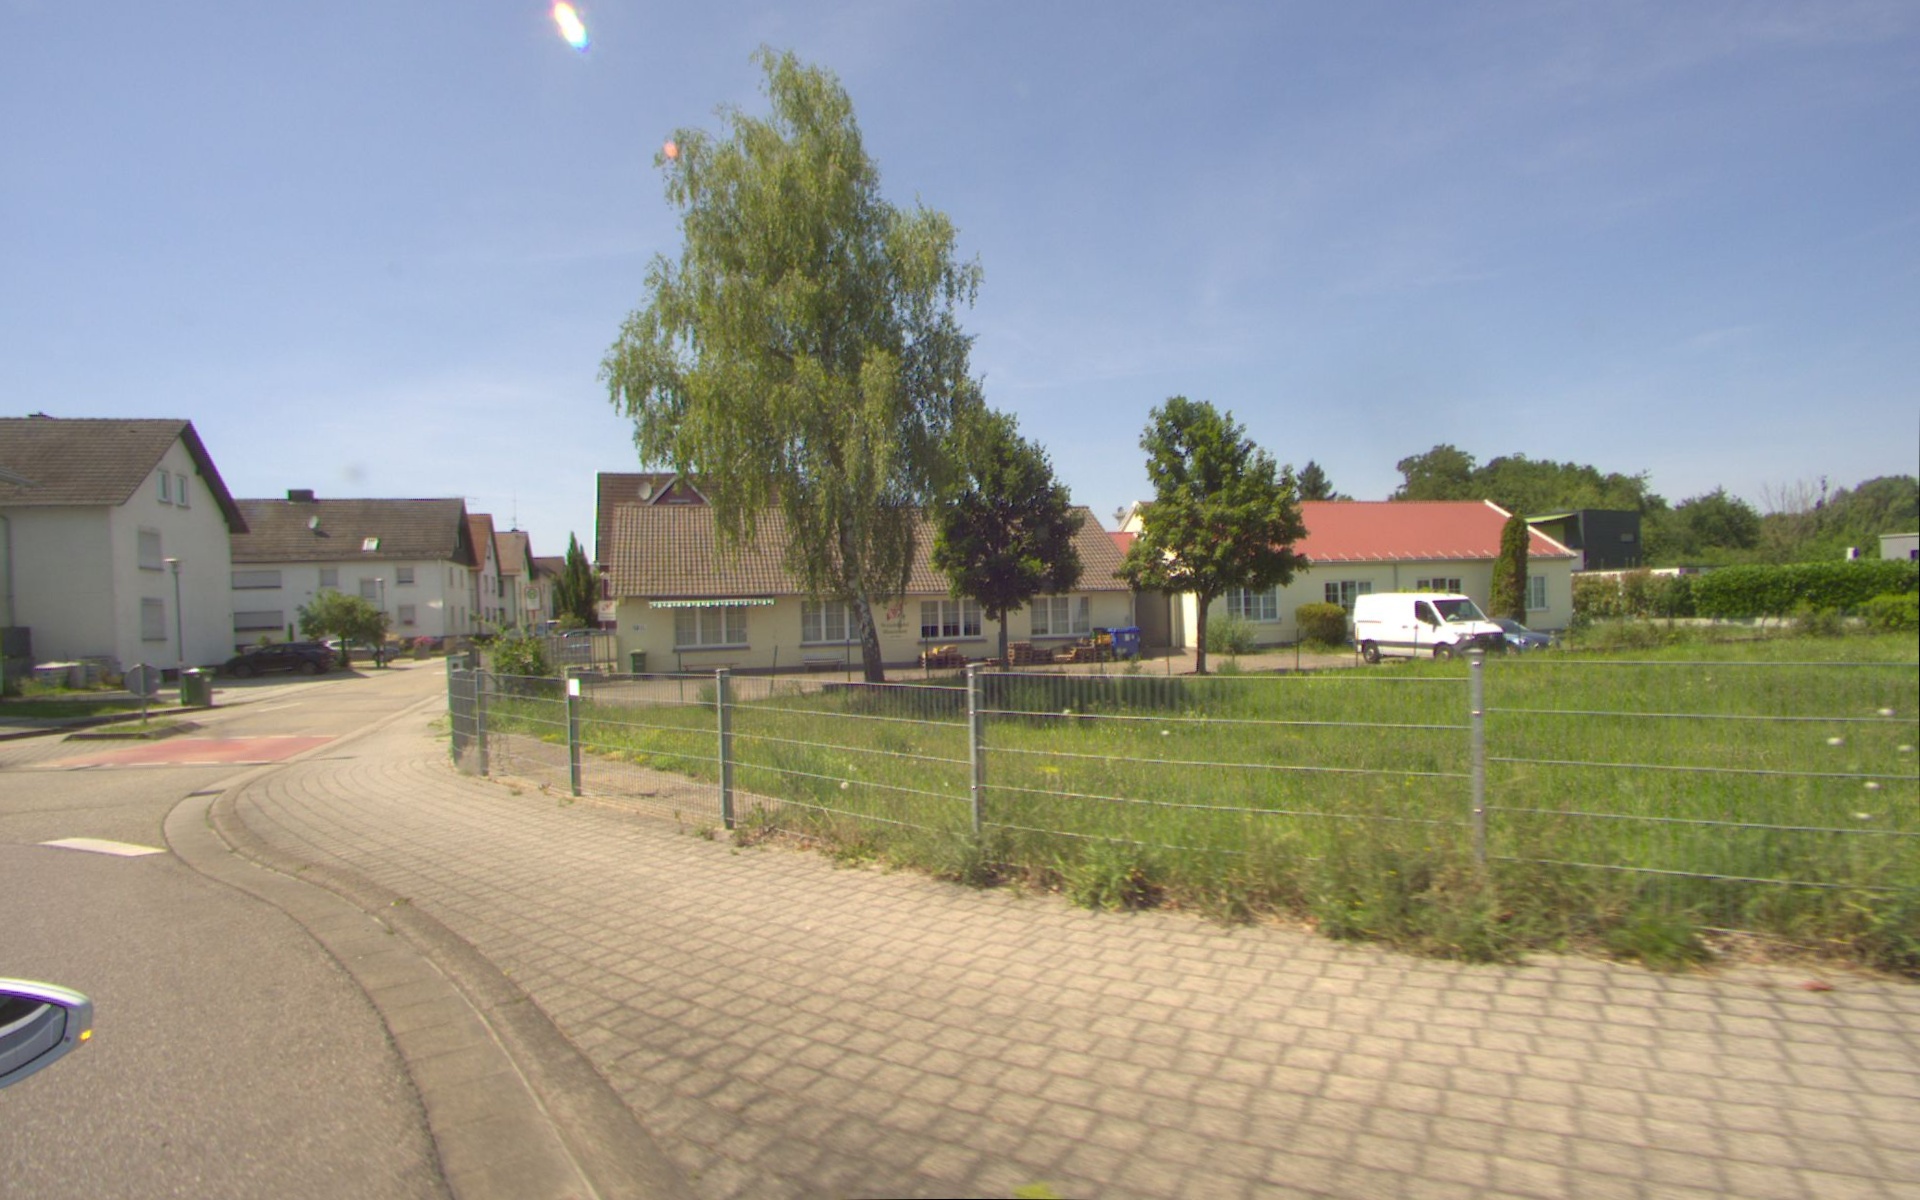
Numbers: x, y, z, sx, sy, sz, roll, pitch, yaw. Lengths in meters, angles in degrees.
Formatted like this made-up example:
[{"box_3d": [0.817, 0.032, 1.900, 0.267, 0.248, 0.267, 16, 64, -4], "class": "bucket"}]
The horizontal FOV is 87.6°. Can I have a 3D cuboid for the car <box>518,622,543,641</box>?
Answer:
[{"box_3d": [-38.407, 2.831, 89.569, 1.898, 1.624, 3.990, -1, -1, -22], "class": "car"}]

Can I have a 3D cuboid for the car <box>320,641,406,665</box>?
[{"box_3d": [-34.550, 3.056, 58.057, 3.930, 1.206, 1.837, -1, -1, -19], "class": "car"}]

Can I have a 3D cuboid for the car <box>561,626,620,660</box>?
[{"box_3d": [-19.008, 2.225, 51.595, 2.704, 1.618, 1.170, -2, -2, -16], "class": "car"}]

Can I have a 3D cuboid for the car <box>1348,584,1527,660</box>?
[{"box_3d": [15.499, 0.791, 32.905, 2.178, 2.229, 5.175, -2, -2, -21], "class": "car"}]

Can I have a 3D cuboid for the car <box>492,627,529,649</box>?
[{"box_3d": [-33.935, 2.839, 75.696, 1.964, 1.573, 3.995, -1, -1, -15], "class": "car"}]

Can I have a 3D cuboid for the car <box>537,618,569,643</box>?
[{"box_3d": [-32.160, 2.463, 79.203, 1.824, 1.809, 3.996, -2, -2, -16], "class": "car"}]

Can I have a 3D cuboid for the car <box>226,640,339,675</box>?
[{"box_3d": [-30.895, 2.582, 45.757, 3.930, 1.401, 1.657, -1, -1, -19], "class": "car"}]

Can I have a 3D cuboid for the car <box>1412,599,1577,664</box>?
[{"box_3d": [18.324, 1.131, 34.633, 2.034, 2.039, 4.925, -2, -2, -19], "class": "car"}]

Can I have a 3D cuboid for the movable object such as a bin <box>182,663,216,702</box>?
[{"box_3d": [-22.753, 2.465, 29.935, 0.635, 1.098, 0.459, -1, 0, -9], "class": "movable object such as a bin"}]
